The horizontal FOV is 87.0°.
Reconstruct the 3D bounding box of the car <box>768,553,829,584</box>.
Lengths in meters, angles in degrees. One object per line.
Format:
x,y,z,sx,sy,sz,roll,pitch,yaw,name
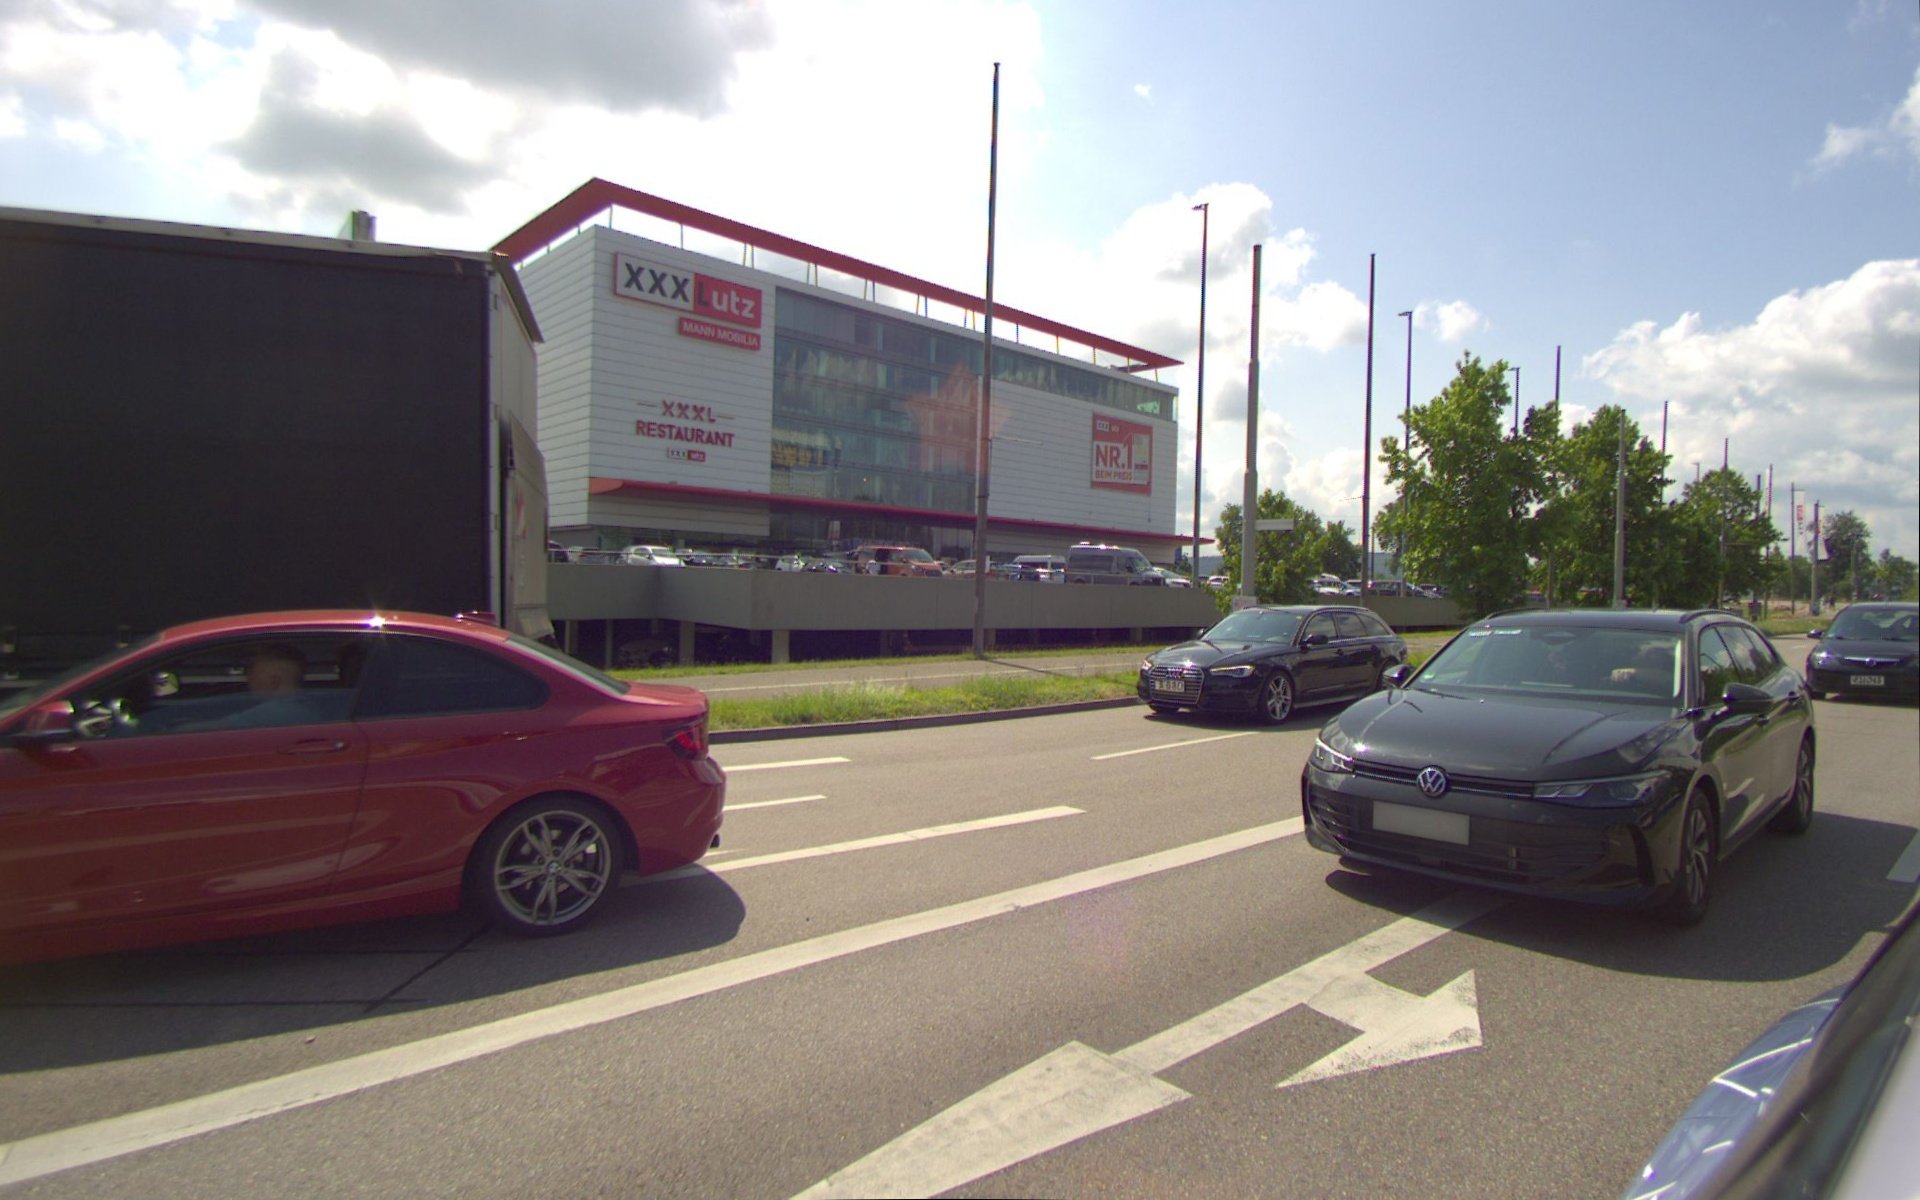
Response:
-10.011,-1.919,62.760,1.884,1.772,3.992,-1,0,-42,car

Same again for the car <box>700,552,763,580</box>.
-13.393,-1.960,59.212,1.534,1.489,4.412,0,0,-44,car

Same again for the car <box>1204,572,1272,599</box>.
19.263,-0.983,70.254,1.534,1.786,4.411,-1,0,-44,car

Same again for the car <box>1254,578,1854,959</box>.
4.048,0.647,6.371,5.114,1.497,1.811,0,0,-42,car

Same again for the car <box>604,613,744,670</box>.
-9.859,1.382,35.080,1.994,1.772,4.293,0,0,45,car

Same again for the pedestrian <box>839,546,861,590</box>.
-5.176,-1.500,47.661,0.895,2.039,0.706,-1,0,4,pedestrian

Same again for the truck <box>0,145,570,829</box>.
-7.645,-0.663,7.140,8.879,4.078,3.229,-1,0,-16,truck

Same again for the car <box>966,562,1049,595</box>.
2.448,-1.096,53.255,1.920,1.626,4.417,0,0,-40,car

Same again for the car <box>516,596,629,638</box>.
-17.335,0.732,45.392,1.994,1.772,4.293,0,0,45,car

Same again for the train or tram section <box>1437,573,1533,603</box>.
82.937,-1.865,160.281,3.670,4.618,13.075,-1,0,-43,train or tram section

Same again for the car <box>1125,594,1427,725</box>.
4.427,0.671,13.772,4.596,1.497,1.777,0,0,-41,car

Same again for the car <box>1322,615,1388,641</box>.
29.712,2.082,76.273,1.534,1.786,4.411,-1,0,-44,car

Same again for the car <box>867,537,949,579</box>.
-2.492,-1.927,47.505,1.881,1.772,4.187,-1,0,-36,car

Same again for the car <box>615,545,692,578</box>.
-15.401,-1.888,50.699,1.923,1.489,4.412,0,0,-44,car

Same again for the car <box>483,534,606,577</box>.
-17.356,-1.835,42.414,1.947,1.626,4.355,0,0,42,car

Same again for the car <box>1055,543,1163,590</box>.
7.742,-1.694,53.175,1.721,2.312,5.783,-1,0,-44,car

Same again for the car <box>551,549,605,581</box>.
-23.873,-2.143,63.177,1.534,1.846,4.412,0,0,-44,car

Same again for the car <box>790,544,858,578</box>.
-7.655,-2.138,56.657,1.884,1.772,3.992,-1,0,-42,car

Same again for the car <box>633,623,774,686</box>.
-8.121,1.677,32.241,1.994,1.772,3.935,0,0,45,car

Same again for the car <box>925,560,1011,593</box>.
0.363,-1.159,51.195,1.921,1.626,4.415,0,0,-42,car

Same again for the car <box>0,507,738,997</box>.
-3.317,0.509,4.560,4.137,1.676,1.866,-1,0,-33,car

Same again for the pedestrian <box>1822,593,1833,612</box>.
86.828,0.241,101.277,0.694,1.837,0.543,-1,0,16,pedestrian

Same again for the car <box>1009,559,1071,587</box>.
5.396,-1.804,68.244,1.884,1.772,3.992,-1,0,-42,car

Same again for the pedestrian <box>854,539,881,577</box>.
-4.330,-1.948,47.328,1.014,1.764,0.698,-1,0,36,pedestrian

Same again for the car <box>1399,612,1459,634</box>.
39.940,1.909,86.239,1.534,1.786,4.411,-1,0,-44,car

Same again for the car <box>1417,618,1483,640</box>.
39.504,2.310,81.640,1.921,1.626,4.415,0,0,-42,car

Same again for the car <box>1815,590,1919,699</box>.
15.050,0.654,16.155,4.196,1.549,1.605,1,0,-42,car

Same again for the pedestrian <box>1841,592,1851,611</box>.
87.864,0.131,100.393,0.520,1.837,0.673,-1,0,21,pedestrian

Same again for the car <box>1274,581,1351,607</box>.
23.025,-0.392,66.200,1.921,1.626,4.415,0,0,-42,car

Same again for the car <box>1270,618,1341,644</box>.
24.431,2.162,71.635,1.922,1.626,4.413,0,0,-43,car

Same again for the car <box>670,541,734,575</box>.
-14.629,-2.350,57.318,1.884,1.772,3.992,-1,0,-42,car

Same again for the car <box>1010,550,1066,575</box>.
5.790,-2.769,75.622,1.884,1.772,3.992,-1,0,-42,car

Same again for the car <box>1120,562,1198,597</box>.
10.821,-1.068,55.220,1.719,1.816,3.994,-1,0,-40,car
